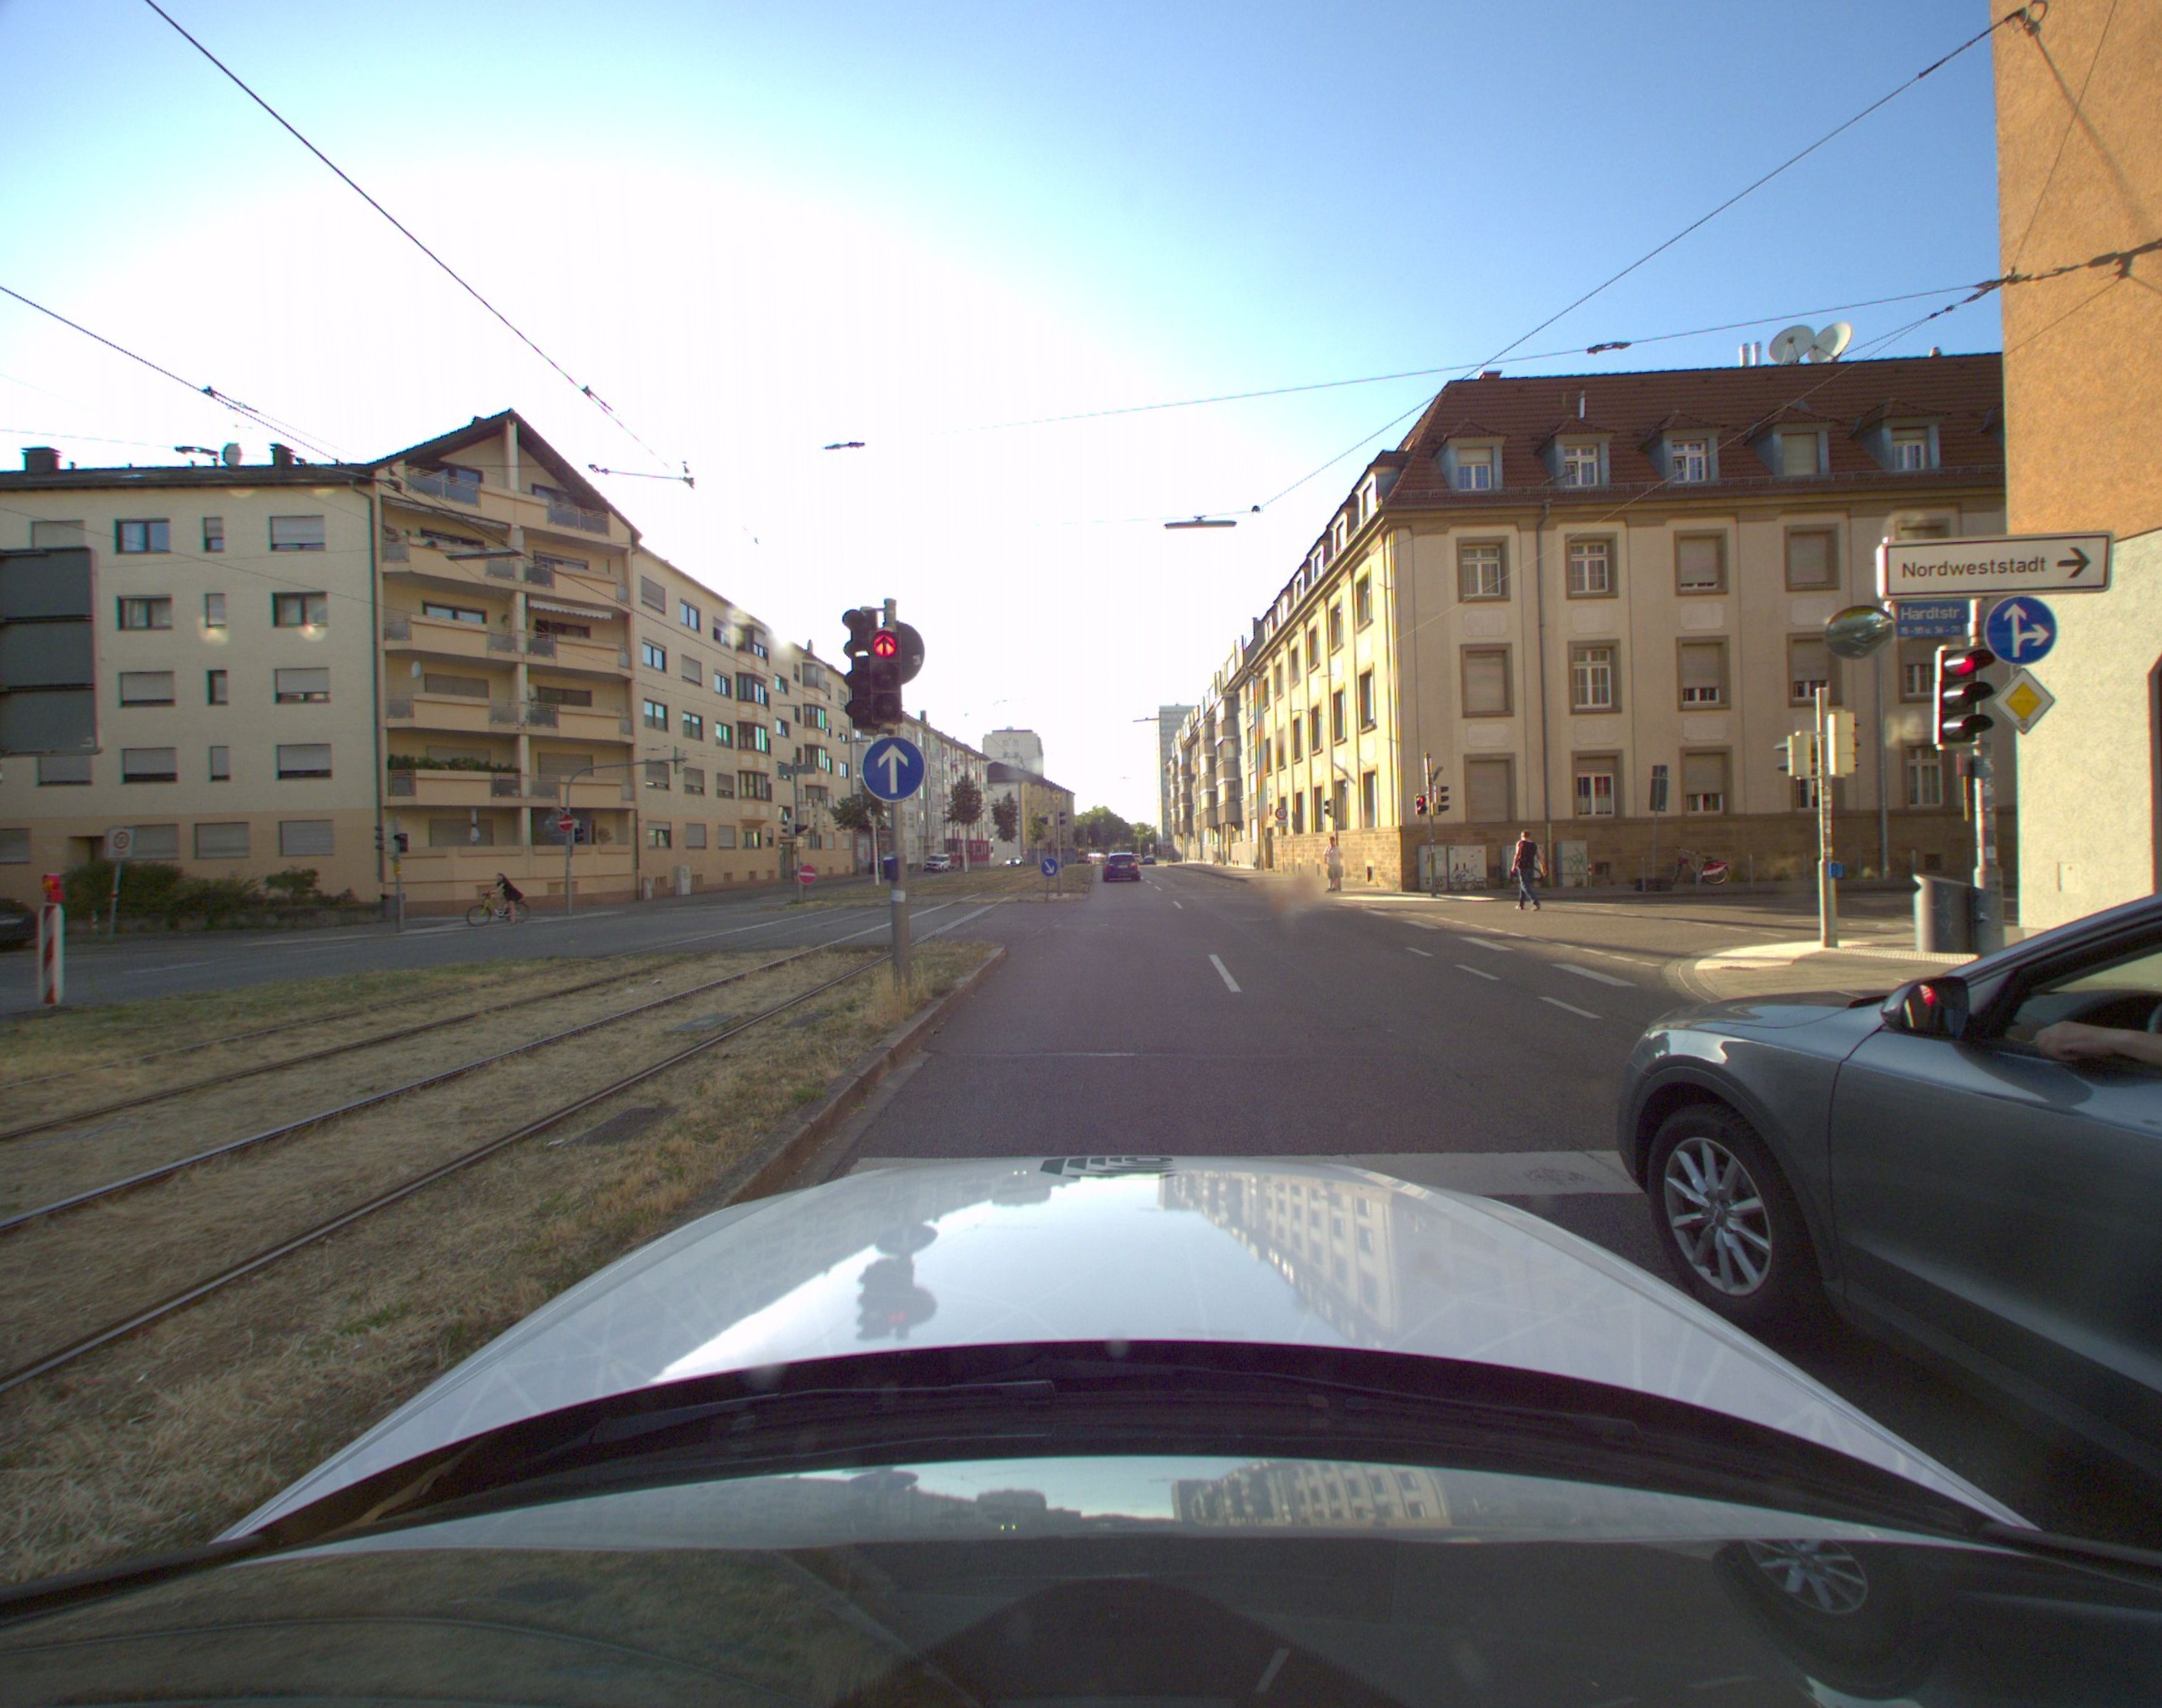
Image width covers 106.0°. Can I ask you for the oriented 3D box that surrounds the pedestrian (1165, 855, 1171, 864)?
[{"bbox_3d":[12.027,0.777,112.879,0.689,1.234,0.736,0,-1,1],"label":"pedestrian"}]

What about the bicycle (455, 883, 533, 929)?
[{"bbox_3d":[-18.227,1.594,25.330,0.450,1.257,1.883,-1,1,34],"label":"bicycle"}]

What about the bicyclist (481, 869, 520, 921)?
[{"bbox_3d":[-18.139,1.268,25.459,0.620,1.586,0.814,-1,0,35],"label":"bicyclist"}]

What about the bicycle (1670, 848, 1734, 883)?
[{"bbox_3d":[18.279,0.328,23.997,1.491,1.018,0.251,-1,-1,17],"label":"bicycle"}]

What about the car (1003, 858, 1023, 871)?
[{"bbox_3d":[-9.320,1.420,111.775,1.888,1.633,4.754,-2,0,5],"label":"car"}]

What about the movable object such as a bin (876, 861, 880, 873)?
[{"bbox_3d":[-17.328,1.107,69.512,0.297,1.036,0.441,0,-1,1],"label":"movable object such as a bin"}]

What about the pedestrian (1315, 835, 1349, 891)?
[{"bbox_3d":[8.105,0.283,26.325,0.832,1.762,0.824,0,-1,1],"label":"pedestrian"}]

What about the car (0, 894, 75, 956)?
[{"bbox_3d":[-30.095,1.959,21.552,3.983,1.442,1.996,-2,3,-7],"label":"car"}]

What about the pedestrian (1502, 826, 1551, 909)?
[{"bbox_3d":[9.725,0.290,17.795,0.627,1.758,0.826,0,-1,1],"label":"pedestrian"}]

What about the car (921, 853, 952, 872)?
[{"bbox_3d":[-14.552,0.854,82.170,1.984,1.925,4.548,-1,-1,5],"label":"car"}]

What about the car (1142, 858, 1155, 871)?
[{"bbox_3d":[11.129,1.661,134.727,1.986,2.013,4.002,-2,0,2],"label":"car"}]

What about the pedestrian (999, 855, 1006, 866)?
[{"bbox_3d":[-12.136,1.006,125.879,0.957,1.694,1.013,-1,-1,7],"label":"pedestrian"}]

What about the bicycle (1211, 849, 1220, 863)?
[{"bbox_3d":[10.265,0.151,61.957,0.382,1.096,1.503,-2,-1,0],"label":"bicycle"}]

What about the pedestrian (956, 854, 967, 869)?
[{"bbox_3d":[-14.640,0.899,99.915,1.268,1.761,1.271,0,-1,-8],"label":"pedestrian"}]

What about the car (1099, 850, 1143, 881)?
[{"bbox_3d":[1.980,0.561,41.057,1.921,1.456,4.325,0,0,-1],"label":"car"}]

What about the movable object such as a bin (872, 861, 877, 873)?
[{"bbox_3d":[-17.471,1.114,68.755,0.297,1.036,0.442,0,-1,1],"label":"movable object such as a bin"}]

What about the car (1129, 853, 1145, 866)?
[{"bbox_3d":[7.234,0.712,105.887,1.986,1.564,4.002,0,-1,2],"label":"car"}]

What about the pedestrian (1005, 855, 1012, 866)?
[{"bbox_3d":[-11.241,1.011,126.364,0.957,1.670,1.013,-1,-1,7],"label":"pedestrian"}]

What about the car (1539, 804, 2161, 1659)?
[{"bbox_3d":[2.801,0.677,1.455,1.691,1.552,4.227,-1,0,2],"label":"car"}]
